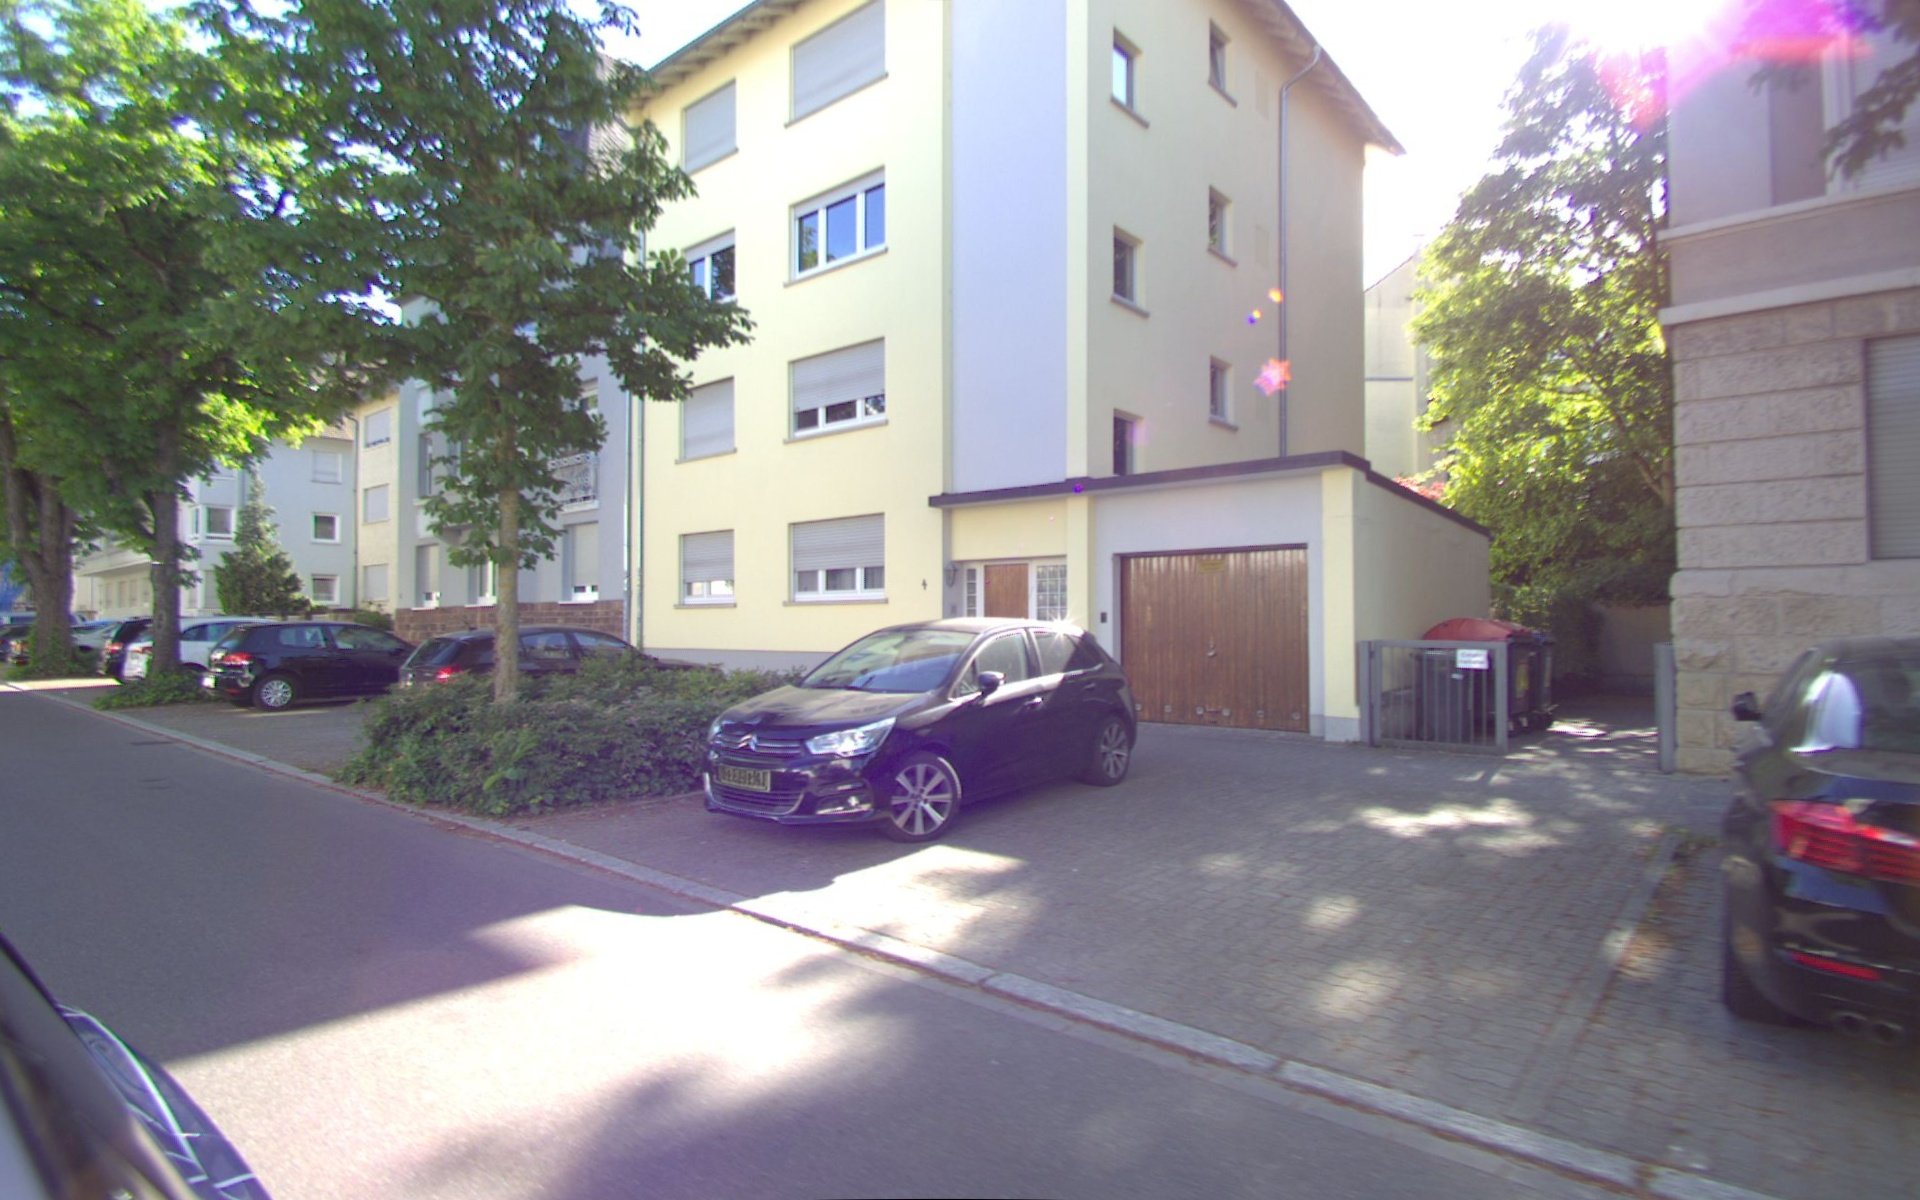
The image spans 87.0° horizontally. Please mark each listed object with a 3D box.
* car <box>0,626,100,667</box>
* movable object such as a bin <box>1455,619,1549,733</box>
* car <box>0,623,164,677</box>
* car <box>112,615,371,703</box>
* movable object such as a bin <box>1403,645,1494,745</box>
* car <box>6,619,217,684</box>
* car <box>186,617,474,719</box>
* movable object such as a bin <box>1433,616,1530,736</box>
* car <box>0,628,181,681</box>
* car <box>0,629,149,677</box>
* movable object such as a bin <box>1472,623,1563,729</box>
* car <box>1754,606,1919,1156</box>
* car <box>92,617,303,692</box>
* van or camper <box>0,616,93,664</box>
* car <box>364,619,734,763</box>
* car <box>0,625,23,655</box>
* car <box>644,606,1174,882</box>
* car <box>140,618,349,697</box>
[{"bbox_3d":[-36.783,1.832,40.128,1.662,1.510,3.903,-2,-1,42],"label":"car"},{"bbox_3d":[7.014,0.951,13.094,0.948,1.391,0.666,0,1,41],"label":"movable object such as a bin"},{"bbox_3d":[-27.705,1.529,31.772,1.876,1.604,3.948,-1,-2,39],"label":"car"},{"bbox_3d":[-14.547,1.127,20.661,1.805,1.496,3.982,-2,0,40],"label":"car"},{"bbox_3d":[5.758,1.095,11.931,0.832,1.065,0.666,0,1,41],"label":"movable object such as a bin"},{"bbox_3d":[-23.744,1.385,28.443,1.822,1.665,4.340,-2,-1,41],"label":"car"},{"bbox_3d":[-11.036,1.098,17.942,1.799,1.455,3.981,0,1,41],"label":"car"},{"bbox_3d":[6.482,0.910,12.578,0.948,1.407,0.666,0,1,41],"label":"movable object such as a bin"},{"bbox_3d":[-25.855,1.580,30.137,1.695,1.479,3.946,-1,-2,40],"label":"car"},{"bbox_3d":[-29.828,1.725,33.663,1.859,1.510,4.145,-1,-2,39],"label":"car"},{"bbox_3d":[7.501,0.991,13.623,0.948,1.338,0.666,0,1,41],"label":"movable object such as a bin"},{"bbox_3d":[4.465,0.785,4.158,1.866,1.490,4.430,0,0,39],"label":"car"},{"bbox_3d":[-18.320,1.238,24.426,1.848,1.587,3.821,-2,-1,43],"label":"car"},{"bbox_3d":[-38.969,1.638,41.867,1.963,1.929,4.451,-1,-2,40],"label":"van or camper"},{"bbox_3d":[-4.998,1.022,12.734,1.769,1.432,3.947,-3,-2,39],"label":"car"},{"bbox_3d":[-54.309,2.219,55.129,1.830,1.619,4.546,-2,-1,37],"label":"car"},{"bbox_3d":[-0.154,0.850,8.108,1.998,1.511,4.131,0,1,39],"label":"car"},{"bbox_3d":[-16.120,1.238,22.937,1.767,1.587,3.484,-2,-1,35],"label":"car"}]
